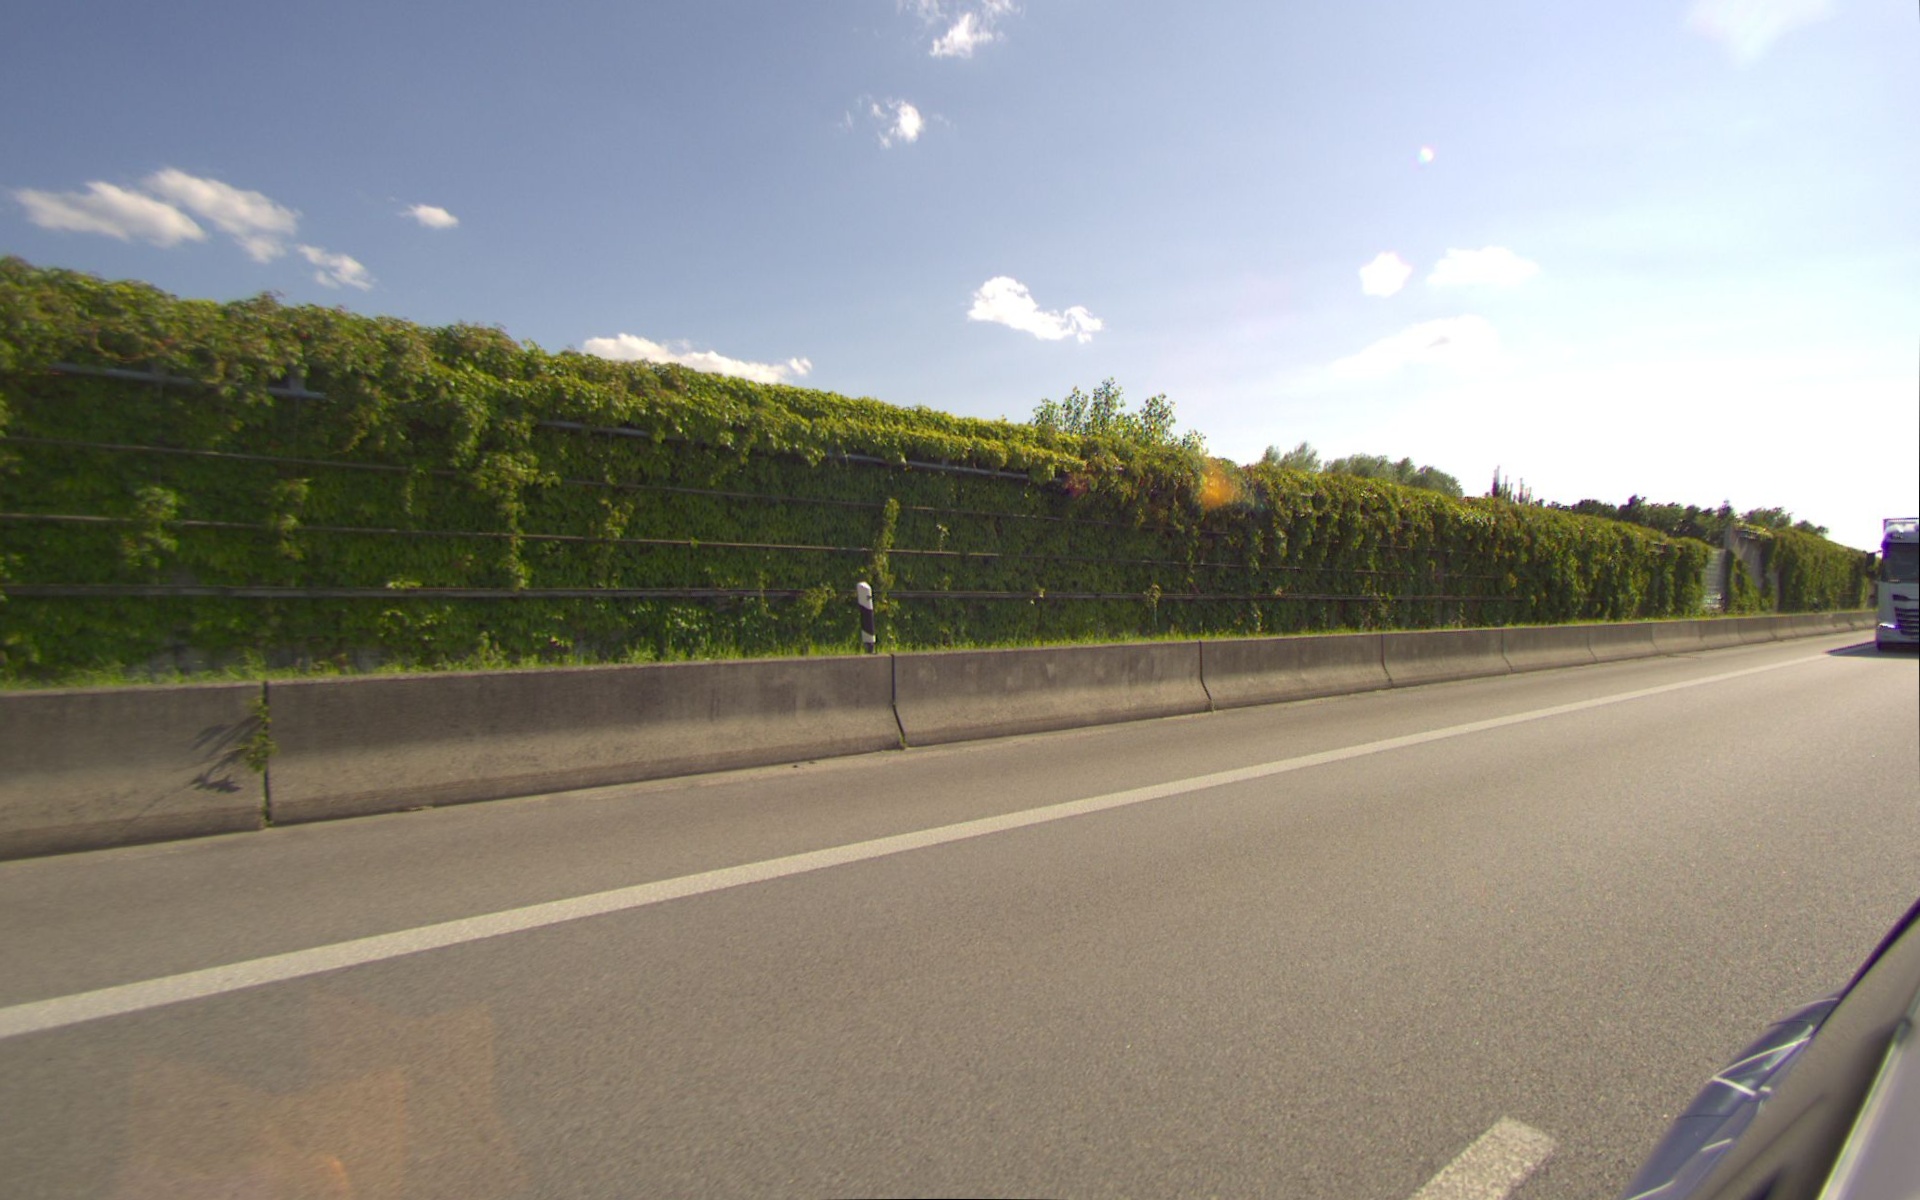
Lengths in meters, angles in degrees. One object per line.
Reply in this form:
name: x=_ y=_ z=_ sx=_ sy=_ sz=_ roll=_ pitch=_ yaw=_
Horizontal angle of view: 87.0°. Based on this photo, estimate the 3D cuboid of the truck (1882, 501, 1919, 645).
truck: x=29.857 y=-0.728 z=30.195 sx=6.925 sy=4.015 sz=2.844 roll=0 pitch=2 yaw=-43

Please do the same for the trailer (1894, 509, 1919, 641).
trailer: x=34.855 y=-0.716 z=34.809 sx=13.920 sy=4.015 sz=2.823 roll=0 pitch=2 yaw=-43
